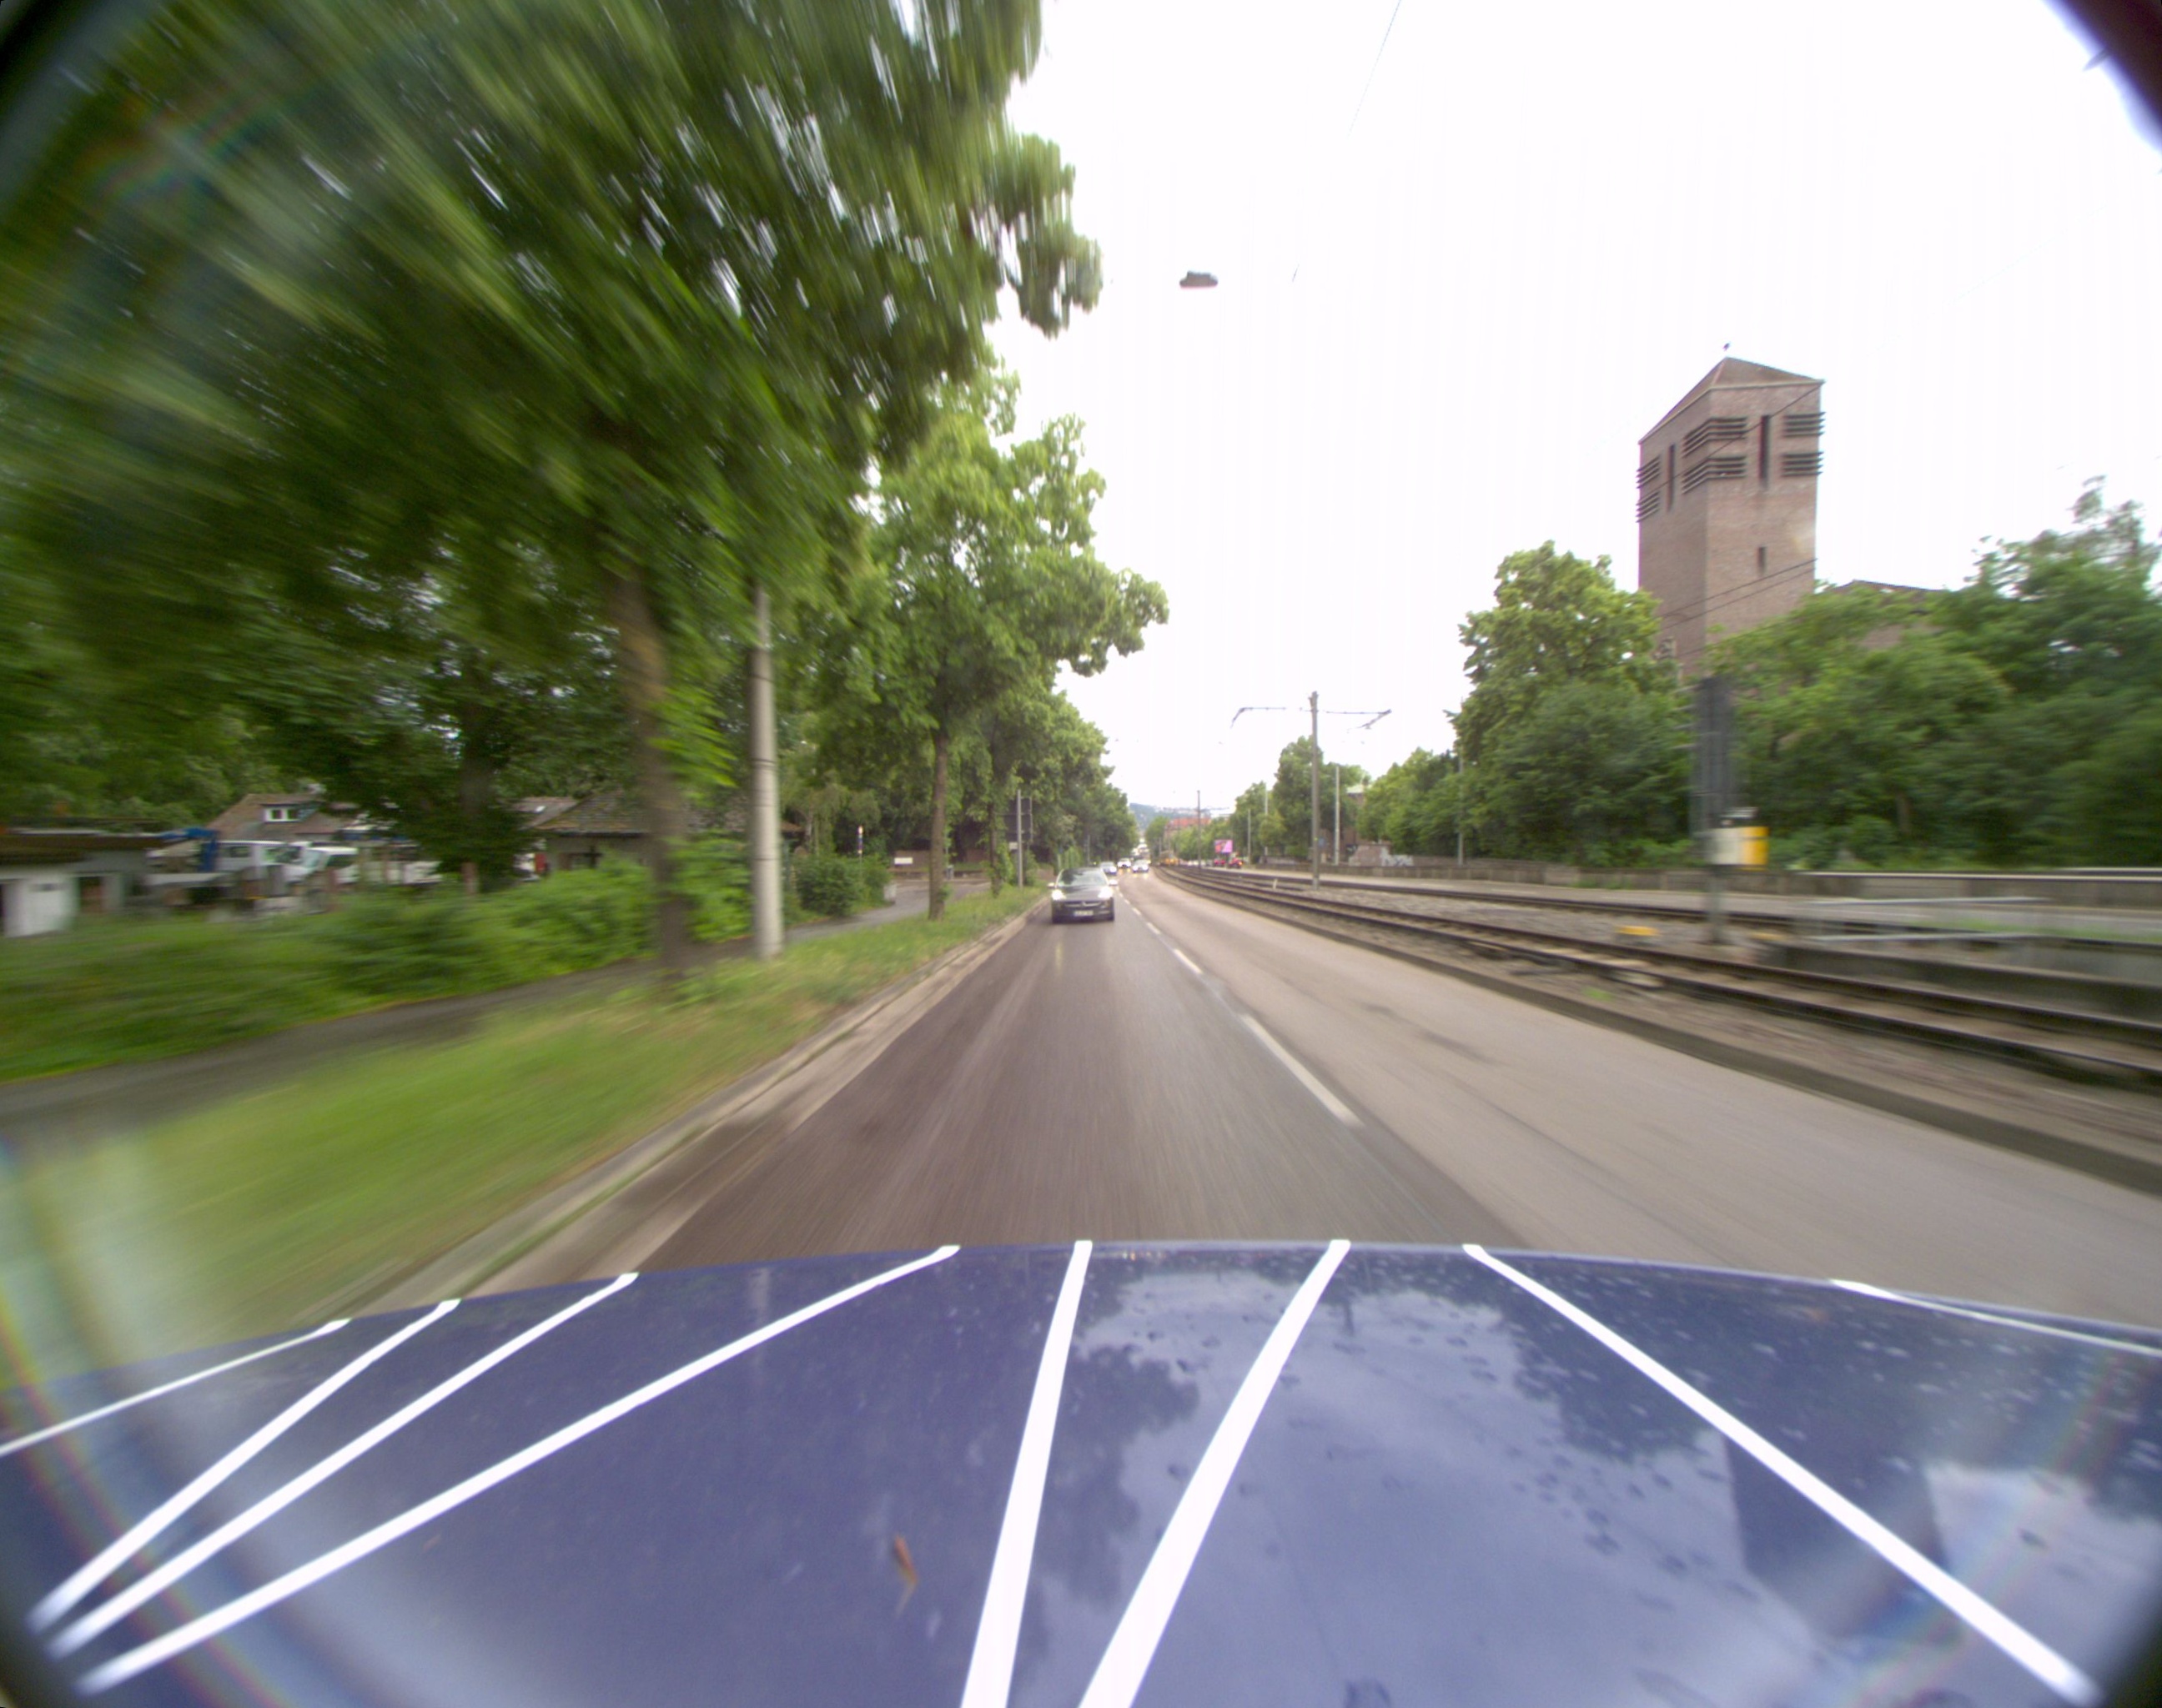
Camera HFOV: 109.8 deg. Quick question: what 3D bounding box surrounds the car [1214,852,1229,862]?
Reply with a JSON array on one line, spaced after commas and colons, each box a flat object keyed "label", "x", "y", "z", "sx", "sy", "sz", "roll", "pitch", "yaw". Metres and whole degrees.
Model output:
[{"label": "car", "x": 25.515, "y": 0.557, "z": 138.209, "sx": 1.998, "sy": 1.634, "sz": 4.526, "roll": 1, "pitch": 0, "yaw": 3}]

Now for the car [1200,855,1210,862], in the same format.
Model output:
[{"label": "car", "x": 27.963, "y": 0.999, "z": 171.803, "sx": 1.751, "sy": 1.459, "sz": 3.986, "roll": 2, "pitch": -1, "yaw": 3}]

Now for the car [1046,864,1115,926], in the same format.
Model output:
[{"label": "car", "x": 0.067, "y": 1.110, "z": 22.041, "sx": 1.746, "sy": 1.544, "sz": 4.495, "roll": -3, "pitch": -1, "yaw": 2}]

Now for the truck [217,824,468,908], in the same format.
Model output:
[{"label": "truck", "x": -28.116, "y": 0.436, "z": 29.370, "sx": 2.055, "sy": 2.850, "sz": 6.618, "roll": -1, "pitch": 0, "yaw": 26}]

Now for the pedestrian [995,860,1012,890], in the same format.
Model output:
[{"label": "pedestrian", "x": -4.727, "y": 1.286, "z": 46.364, "sx": 0.856, "sy": 1.843, "sz": 0.737, "roll": 0, "pitch": 0, "yaw": 5}]

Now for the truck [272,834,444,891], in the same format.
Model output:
[{"label": "truck", "x": -32.668, "y": 0.378, "z": 34.468, "sx": 5.409, "sy": 2.167, "sz": 2.222, "roll": -3, "pitch": -1, "yaw": -3}]

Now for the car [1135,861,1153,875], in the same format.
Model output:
[{"label": "car", "x": 7.375, "y": 1.590, "z": 88.196, "sx": 1.768, "sy": 1.502, "sz": 4.344, "roll": -1, "pitch": -1, "yaw": 8}]

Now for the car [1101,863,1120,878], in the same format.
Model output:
[{"label": "car", "x": 2.991, "y": 1.649, "z": 77.746, "sx": 1.769, "sy": 1.502, "sz": 4.341, "roll": -1, "pitch": -1, "yaw": 1}]

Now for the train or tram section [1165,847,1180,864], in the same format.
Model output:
[{"label": "train or tram section", "x": 22.337, "y": 0.365, "z": 185.926, "sx": 2.834, "sy": 3.952, "sz": 17.884, "roll": -1, "pitch": -1, "yaw": 4}]

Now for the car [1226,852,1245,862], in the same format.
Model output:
[{"label": "car", "x": 22.767, "y": 0.513, "z": 112.183, "sx": 1.970, "sy": 1.432, "sz": 4.322, "roll": 0, "pitch": 0, "yaw": 2}]

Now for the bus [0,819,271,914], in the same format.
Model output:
[{"label": "bus", "x": -31.564, "y": 0.400, "z": 24.737, "sx": 2.256, "sy": 2.684, "sz": 7.171, "roll": -1, "pitch": 0, "yaw": 5}]
